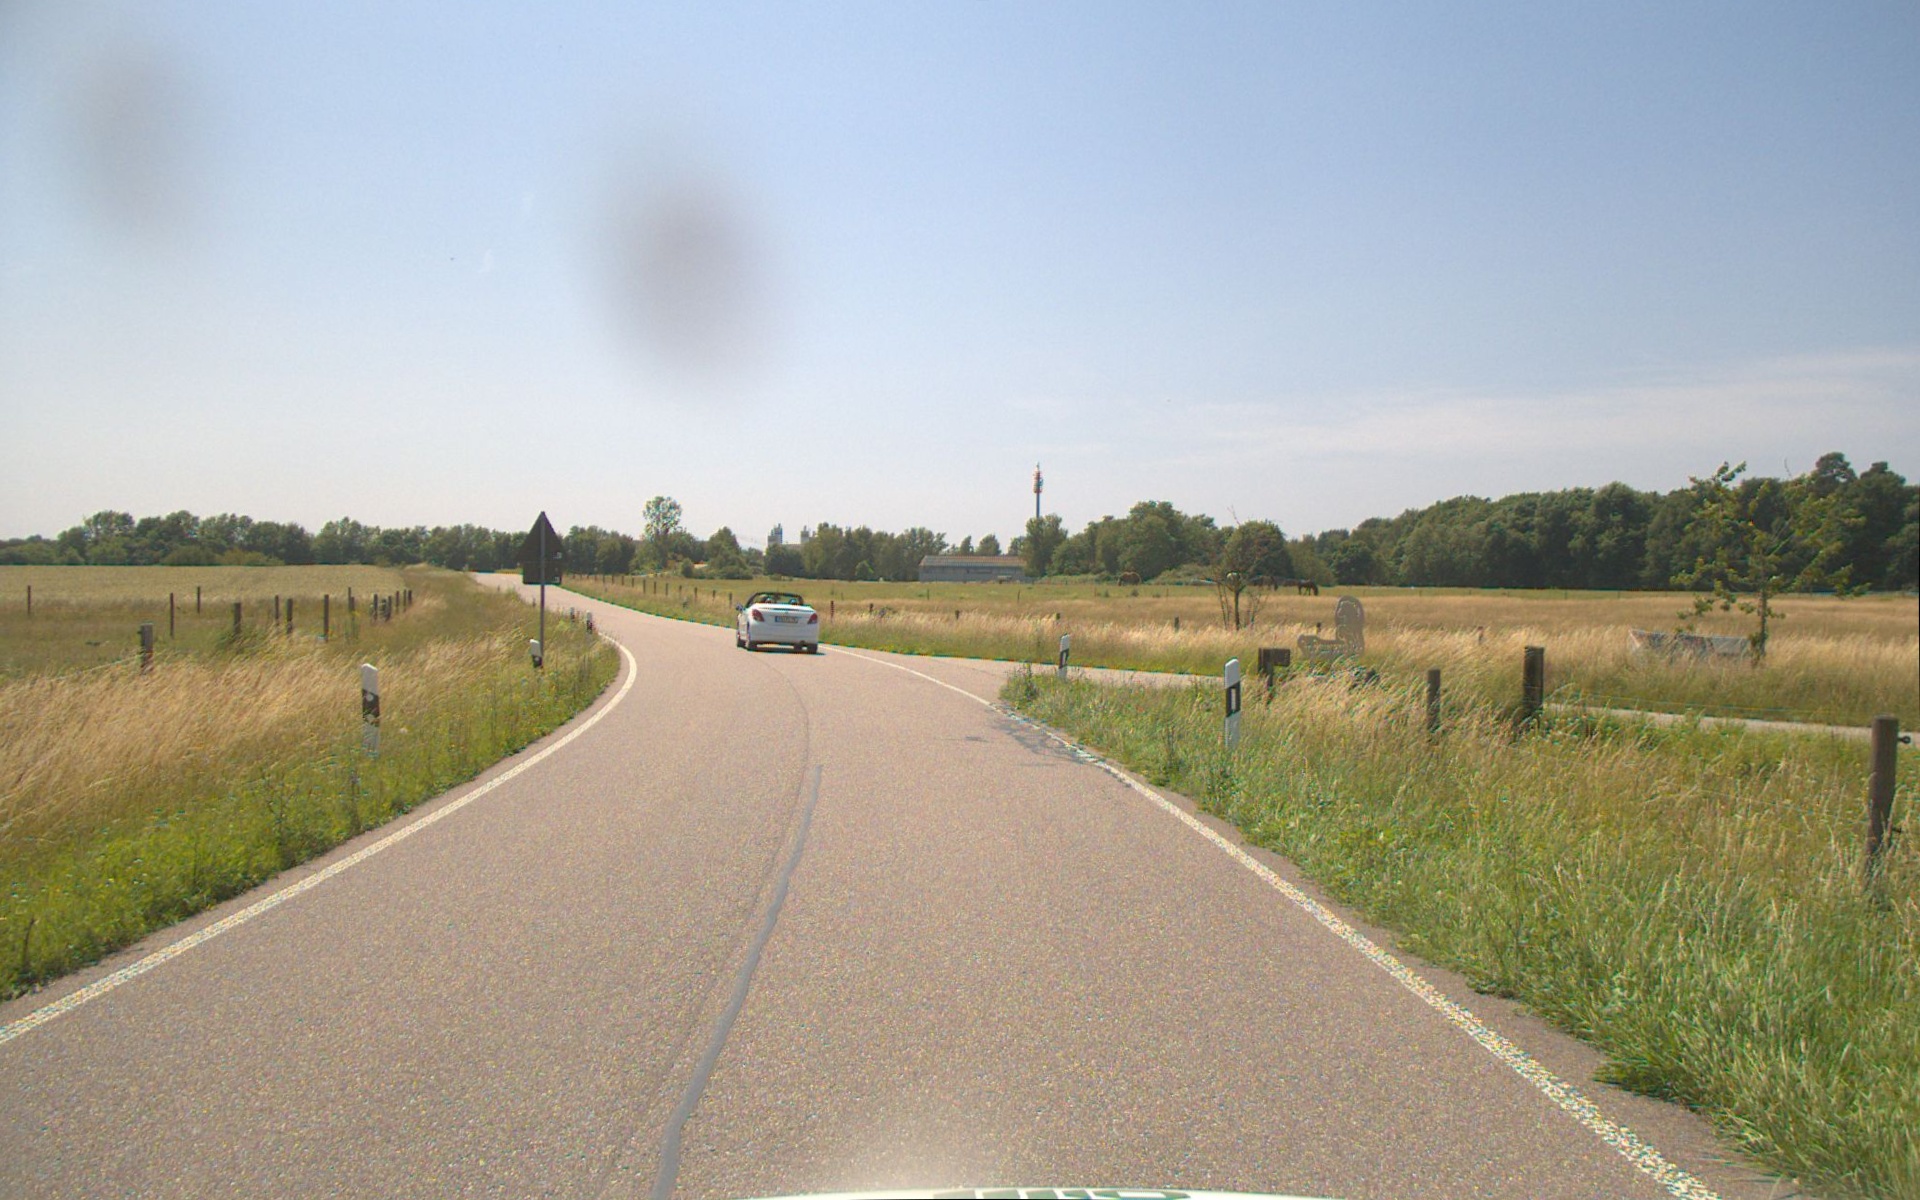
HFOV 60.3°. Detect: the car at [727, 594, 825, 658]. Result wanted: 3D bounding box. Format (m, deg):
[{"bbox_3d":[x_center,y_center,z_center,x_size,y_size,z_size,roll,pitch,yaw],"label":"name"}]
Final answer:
[{"bbox_3d":[-4.532,0.622,40.211,1.820,1.403,3.985,3,-1,-14],"label":"car"}]
